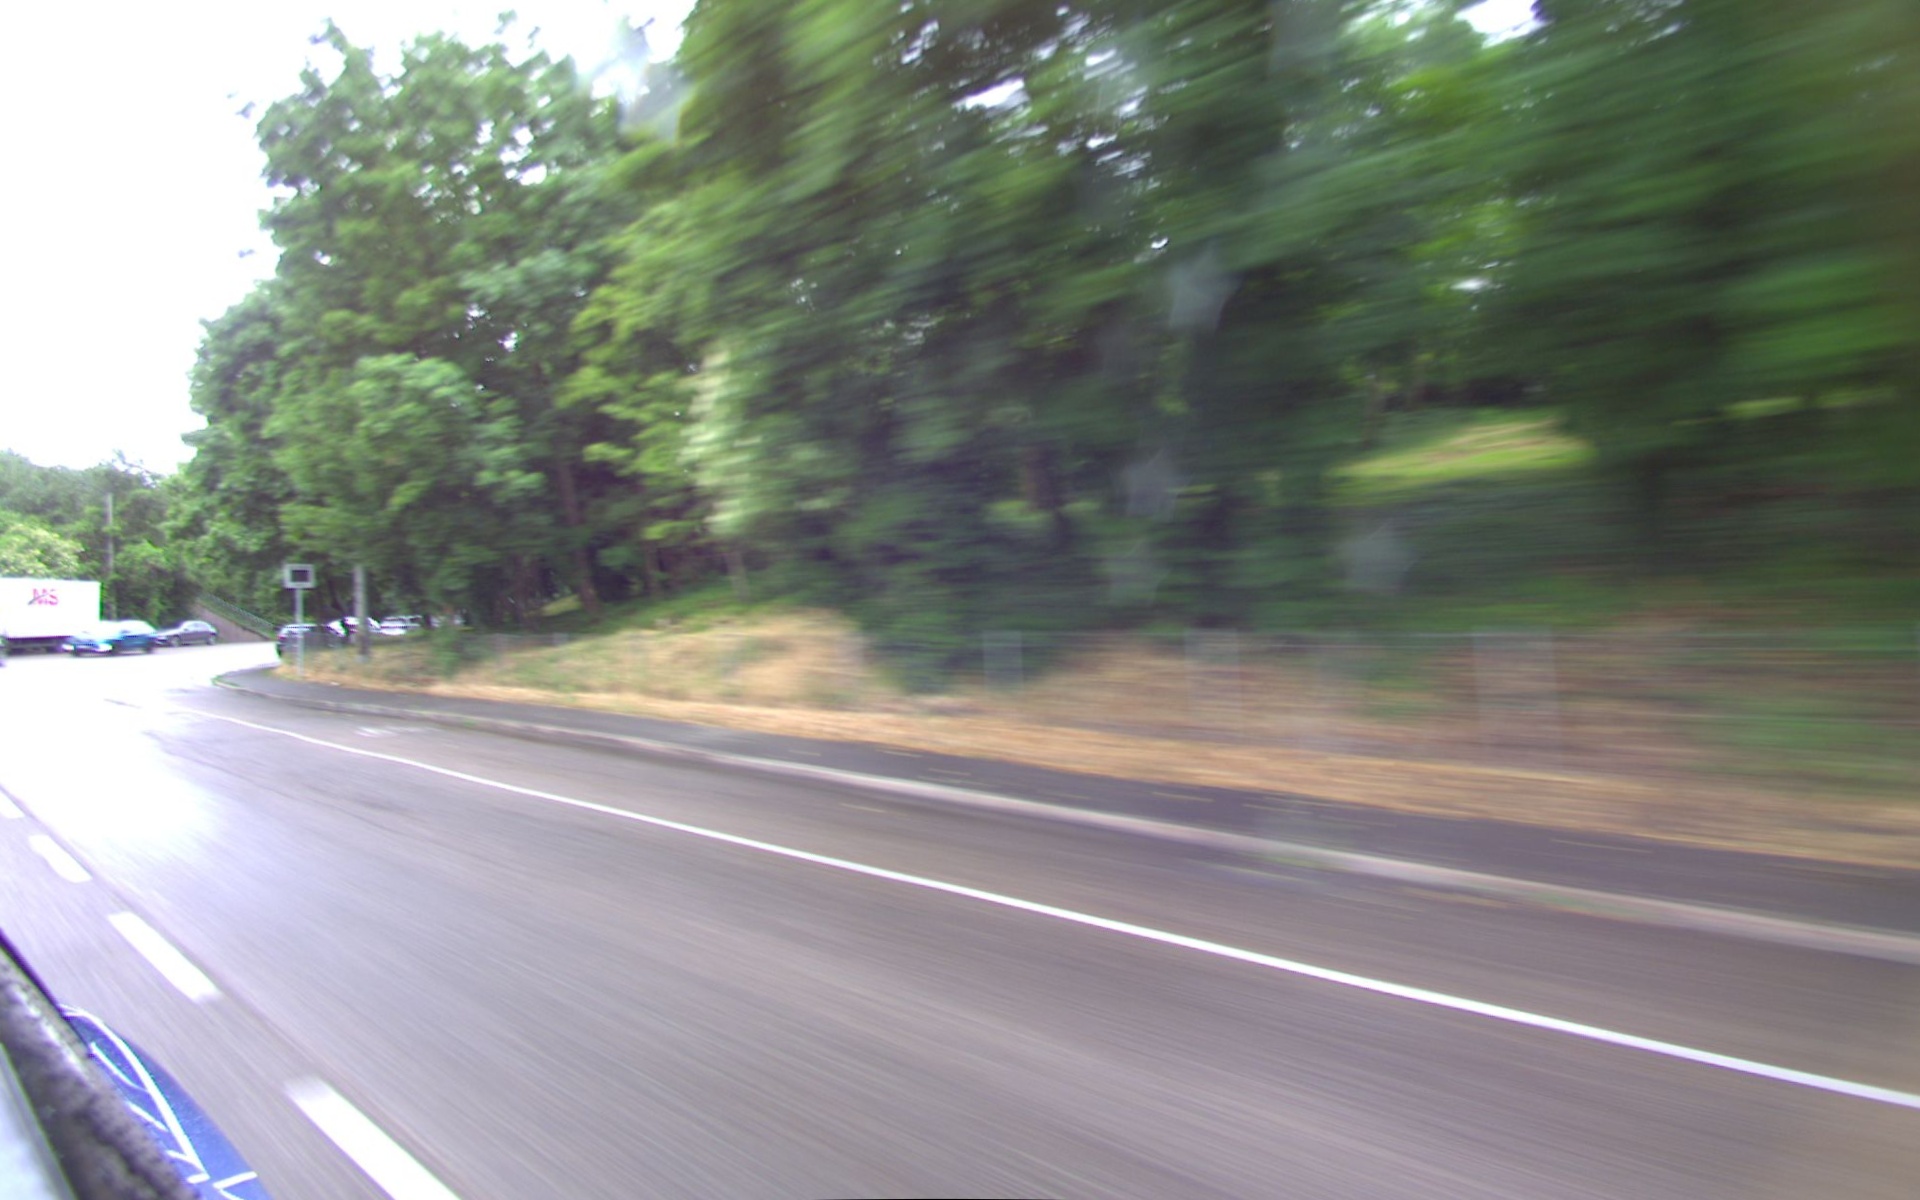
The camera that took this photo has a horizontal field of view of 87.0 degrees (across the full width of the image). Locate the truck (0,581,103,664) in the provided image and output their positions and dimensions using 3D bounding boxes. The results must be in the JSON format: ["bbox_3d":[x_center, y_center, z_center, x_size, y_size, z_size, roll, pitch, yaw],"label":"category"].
[{"bbox_3d":[-43.389,1.013,46.080,2.967,3.601,8.356,-1,0,-11],"label":"truck"}]

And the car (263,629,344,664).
[{"bbox_3d":[-30.876,2.162,47.747,1.750,1.454,4.024,0,0,-9],"label":"car"}]

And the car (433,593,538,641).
[{"bbox_3d":[-30.342,1.009,64.975,2.065,2.566,6.311,12,4,17],"label":"car"}]

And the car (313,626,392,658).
[{"bbox_3d":[-31.599,2.153,52.777,1.732,1.467,4.048,0,0,-1],"label":"car"}]

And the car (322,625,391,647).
[{"bbox_3d":[-42.372,2.510,71.136,1.745,1.411,4.074,-3,-1,16],"label":"car"}]

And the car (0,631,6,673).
[{"bbox_3d":[-35.189,1.827,35.008,1.867,1.551,4.514,1,-2,-26],"label":"car"}]

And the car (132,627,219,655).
[{"bbox_3d":[-44.378,2.290,57.368,1.702,1.455,4.123,-1,-1,1],"label":"car"}]

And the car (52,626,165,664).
[{"bbox_3d":[-39.460,2.066,47.079,1.968,1.683,4.538,-1,-2,-9],"label":"car"}]

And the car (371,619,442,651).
[{"bbox_3d":[-31.667,1.996,58.009,1.785,1.594,4.023,-1,1,1],"label":"car"}]
